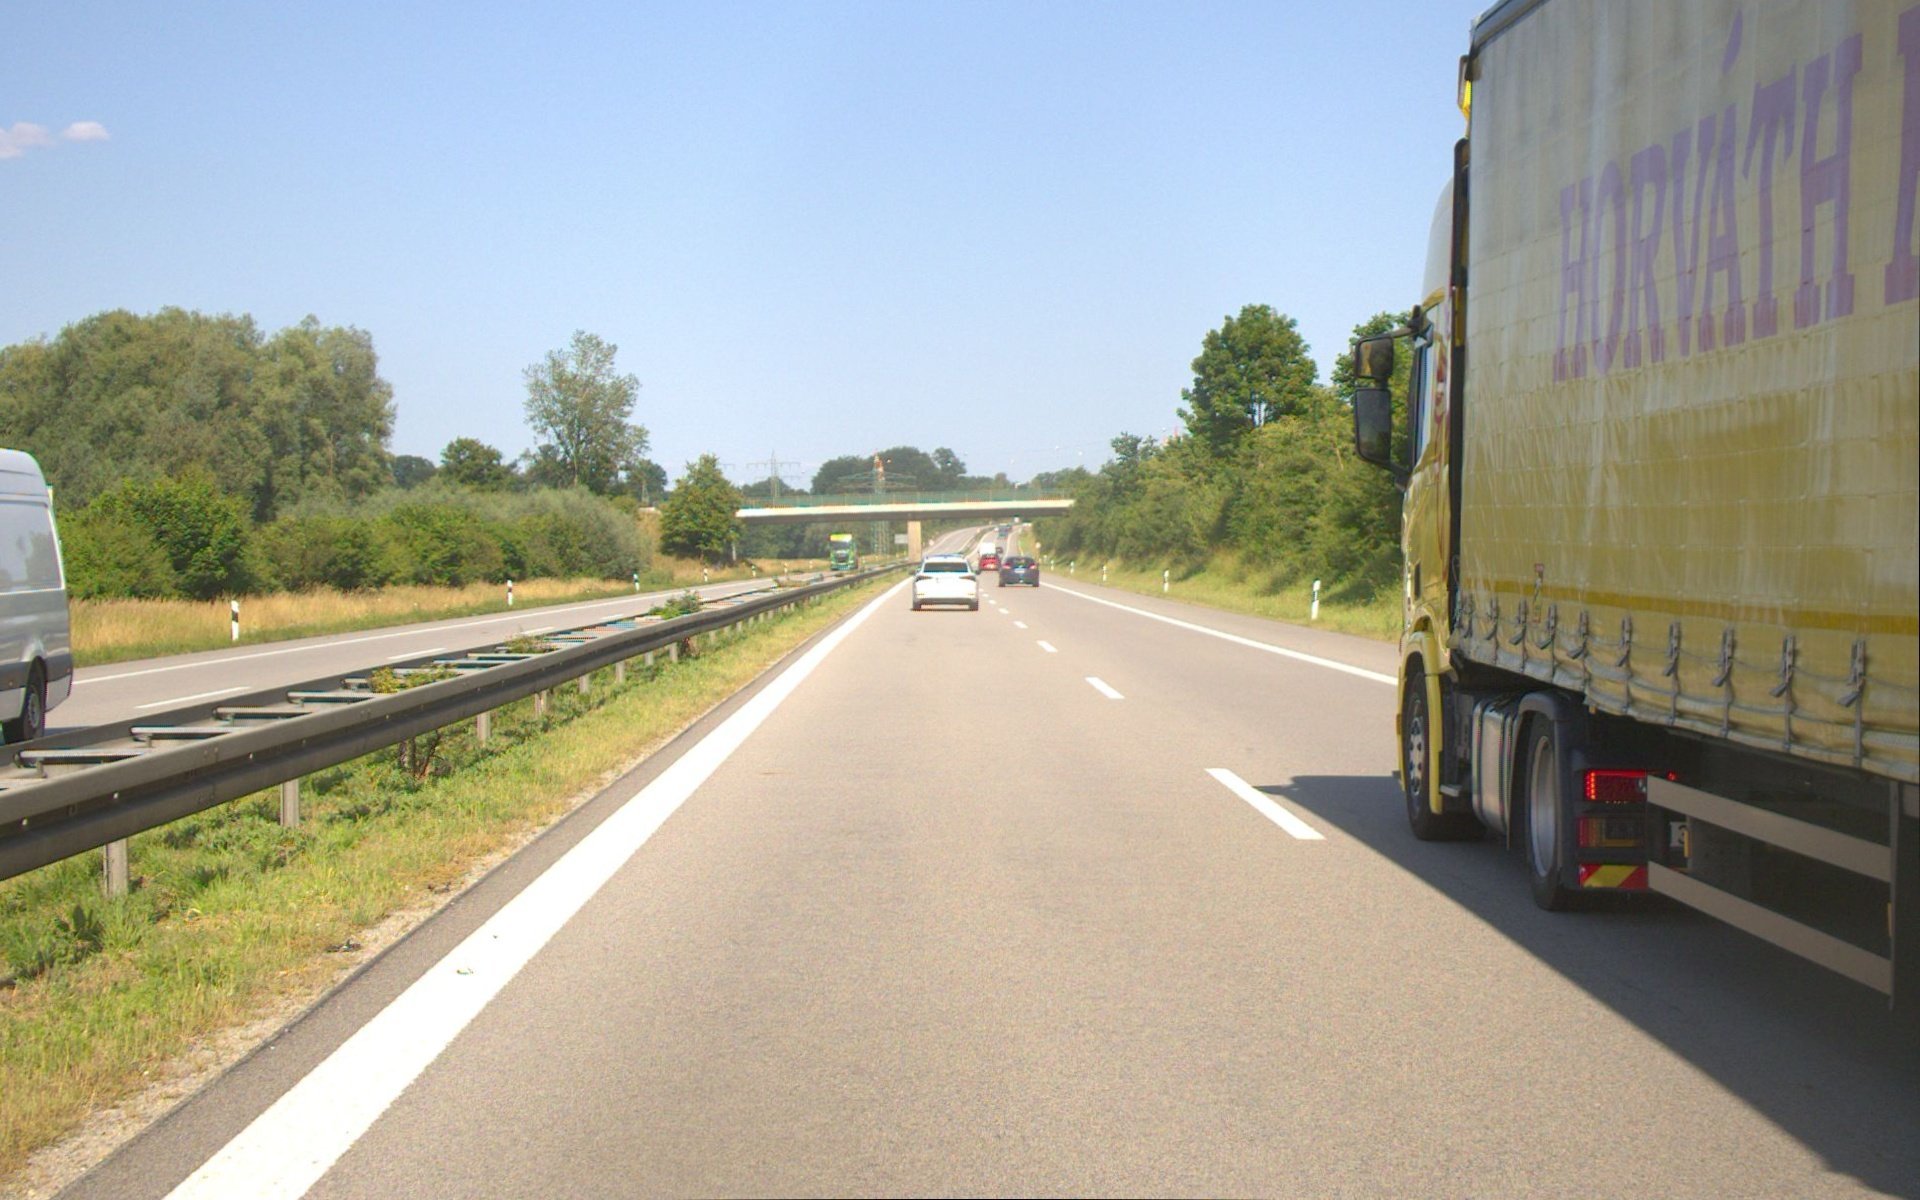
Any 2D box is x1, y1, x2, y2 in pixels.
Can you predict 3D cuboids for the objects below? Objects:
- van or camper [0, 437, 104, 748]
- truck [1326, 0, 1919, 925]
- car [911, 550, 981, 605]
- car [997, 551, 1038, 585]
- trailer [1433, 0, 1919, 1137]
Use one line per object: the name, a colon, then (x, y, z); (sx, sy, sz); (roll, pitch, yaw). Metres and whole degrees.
van or camper: (-8.695, -0.027, 27.337); (1.993, 2.488, 7.228); (-2, 1, -1)
truck: (3.868, -0.773, 16.994); (3.168, 4.100, 6.389); (1, 0, -2)
car: (-0.369, -0.615, 92.748); (1.843, 1.411, 4.000); (1, 1, 0)
car: (2.678, -1.510, 161.197); (1.843, 1.515, 4.000); (1, 1, 0)
trailer: (3.949, -0.698, 9.612); (3.184, 4.045, 13.187); (1, 1, -1)
